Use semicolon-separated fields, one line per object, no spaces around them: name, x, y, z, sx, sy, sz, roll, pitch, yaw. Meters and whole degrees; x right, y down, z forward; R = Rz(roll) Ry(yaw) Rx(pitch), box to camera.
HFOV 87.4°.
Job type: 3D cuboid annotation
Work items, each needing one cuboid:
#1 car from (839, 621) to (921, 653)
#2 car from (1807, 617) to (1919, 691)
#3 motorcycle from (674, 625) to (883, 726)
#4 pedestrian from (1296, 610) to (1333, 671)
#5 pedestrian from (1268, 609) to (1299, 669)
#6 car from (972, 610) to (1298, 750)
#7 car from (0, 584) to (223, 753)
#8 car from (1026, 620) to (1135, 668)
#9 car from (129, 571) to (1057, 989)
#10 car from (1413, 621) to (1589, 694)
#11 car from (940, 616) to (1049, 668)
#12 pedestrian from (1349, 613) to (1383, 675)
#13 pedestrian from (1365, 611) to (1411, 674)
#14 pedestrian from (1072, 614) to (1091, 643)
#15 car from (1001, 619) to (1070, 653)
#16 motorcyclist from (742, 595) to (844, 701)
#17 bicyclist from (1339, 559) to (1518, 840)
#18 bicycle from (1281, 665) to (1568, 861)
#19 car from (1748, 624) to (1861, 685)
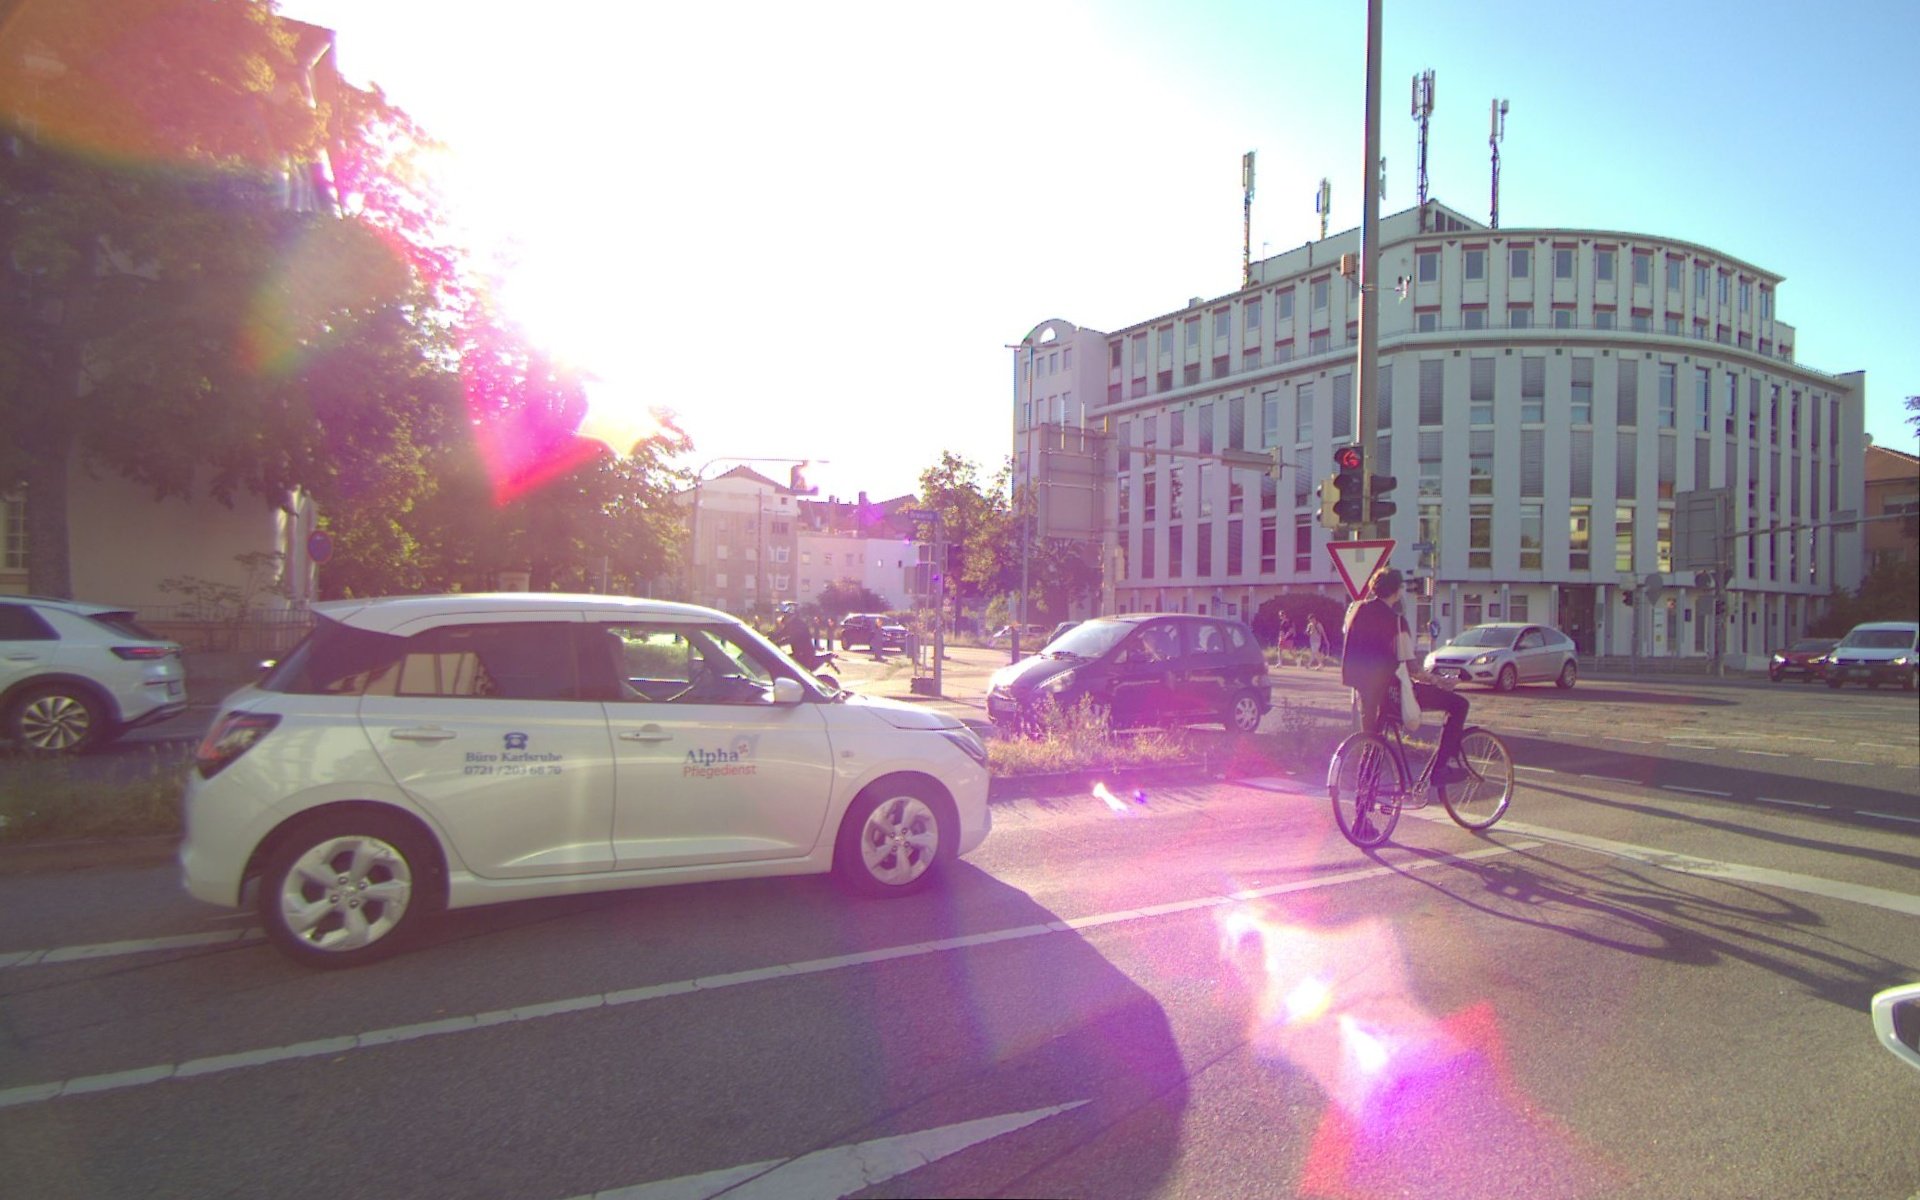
car;-3.713;1.680;46.242;1.813;1.372;3.954;2;-2;-39
car;24.951;1.429;27.137;4.666;1.835;1.904;2;-1;-33
motorcycle;-2.509;1.030;14.160;2.812;1.301;0.766;2;-1;-32
pedestrian;11.145;1.274;31.596;0.805;1.866;0.758;1;-1;-16
pedestrian;10.426;1.256;32.419;0.763;1.883;0.662;1;-1;-2
car;2.255;0.925;12.612;3.955;1.514;1.649;2;-1;-32
car;-9.736;0.610;9.346;4.464;1.518;1.676;2;-1;-32
car;4.216;1.549;35.525;1.843;1.550;3.787;4;-4;-32
car;-1.600;0.681;5.259;3.952;1.476;1.677;1;-1;-29
car;12.484;1.286;23.120;4.298;1.514;1.649;2;-1;-31
car;1.108;1.411;34.609;1.973;1.650;4.332;2;-1;-25
pedestrian;12.601;1.346;31.209;0.763;1.893;0.662;1;-1;-2
pedestrian;12.942;1.280;30.390;1.105;1.893;0.628;1;-1;-2
pedestrian;7.545;1.759;62.400;0.901;1.816;0.671;0;-1;43
car;4.597;2.169;60.933;3.796;1.756;1.776;1;-9;18
motorcyclist;-2.369;0.671;14.258;1.225;1.438;0.766;2;-1;-32
bicyclist;3.183;0.639;6.823;0.977;1.750;0.687;2;-1;-33
bicycle;3.212;1.020;6.846;2.234;1.114;0.696;2;-1;-33
car;27.404;1.743;32.581;4.006;1.835;1.738;2;-1;-33
